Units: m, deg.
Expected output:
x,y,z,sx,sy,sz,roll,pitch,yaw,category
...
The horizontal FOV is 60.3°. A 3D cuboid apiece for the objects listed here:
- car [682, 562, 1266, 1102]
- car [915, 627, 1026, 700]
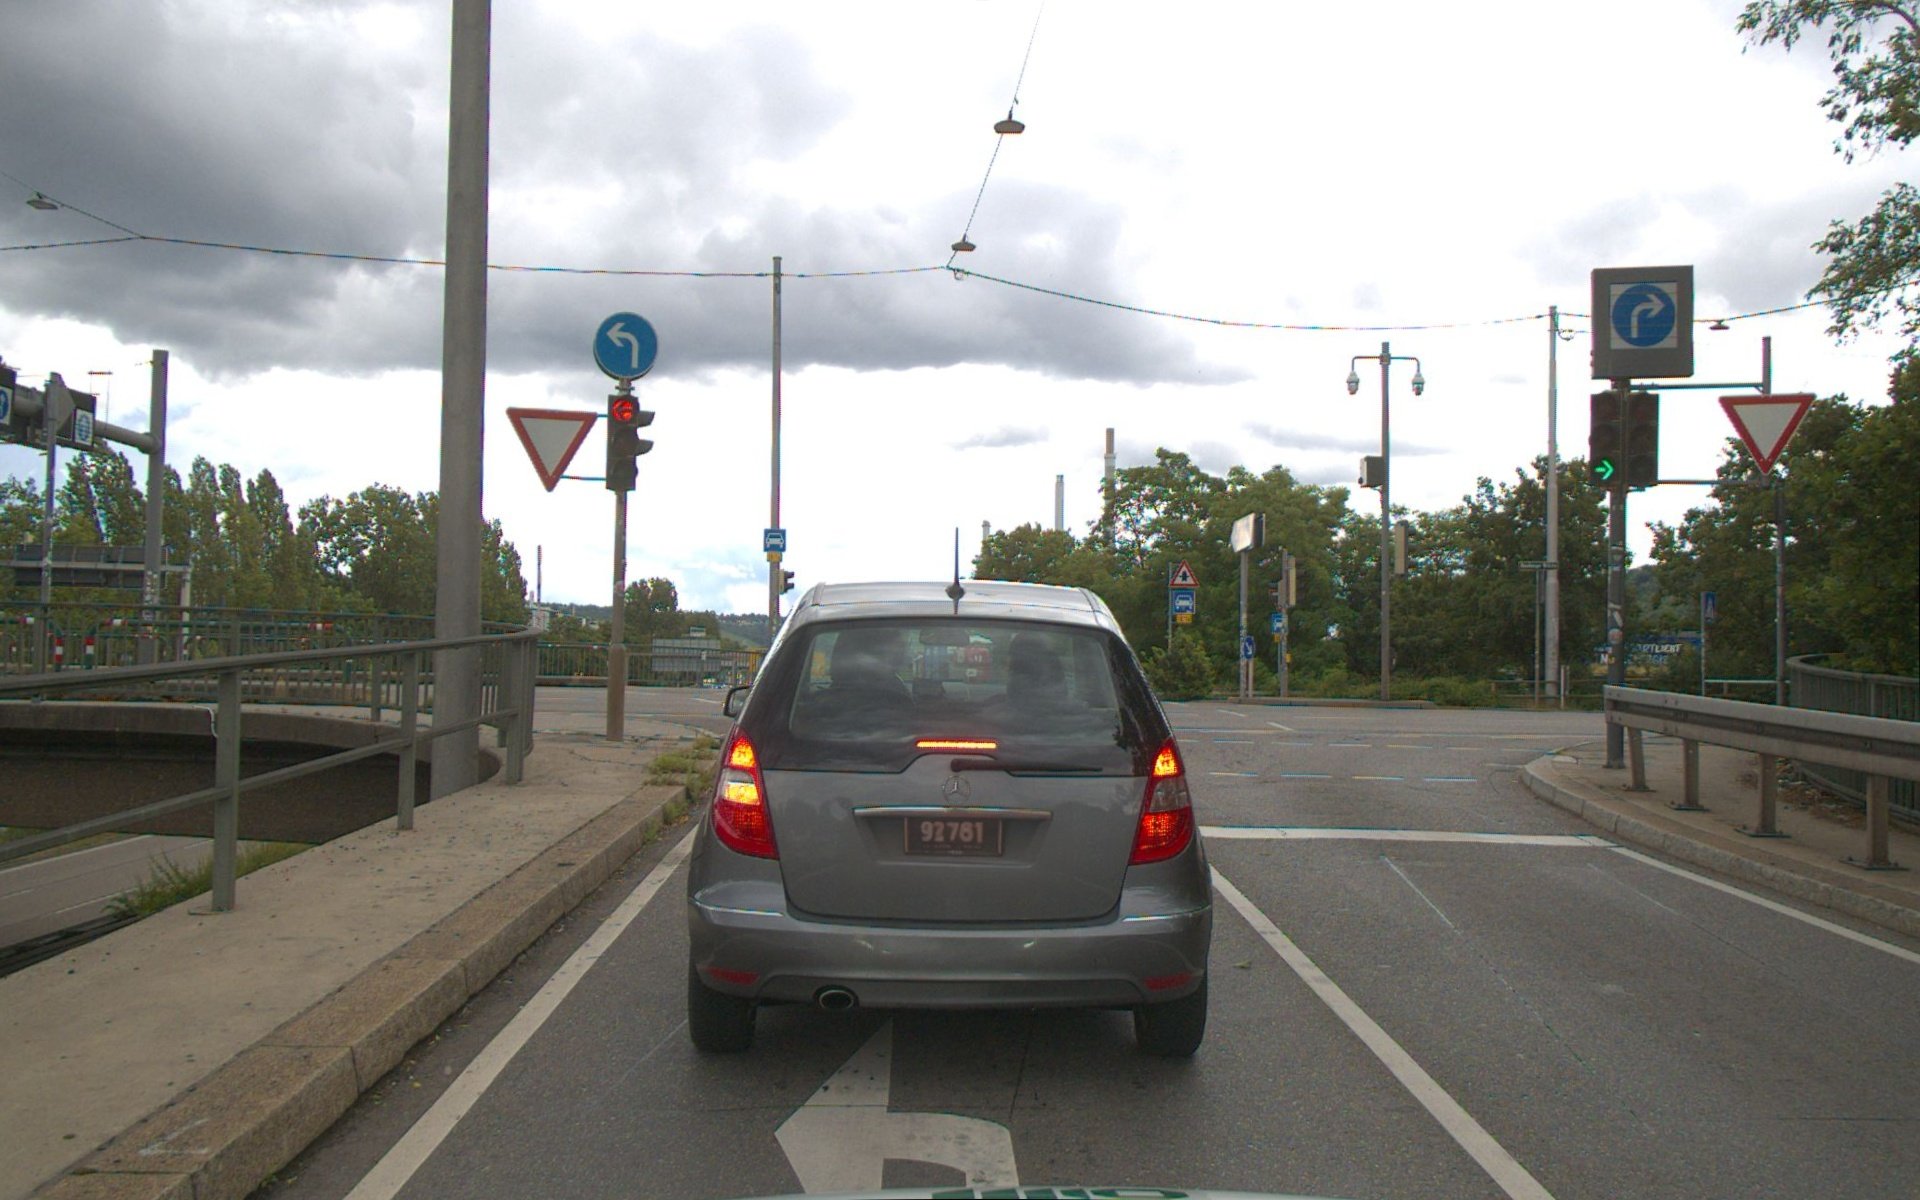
x,y,z,sx,sy,sz,roll,pitch,yaw,category
0.025,0.695,6.664,1.704,1.570,3.540,1,0,-1,car
0.302,2.509,65.531,2.399,2.728,7.729,1,-2,-16,car
